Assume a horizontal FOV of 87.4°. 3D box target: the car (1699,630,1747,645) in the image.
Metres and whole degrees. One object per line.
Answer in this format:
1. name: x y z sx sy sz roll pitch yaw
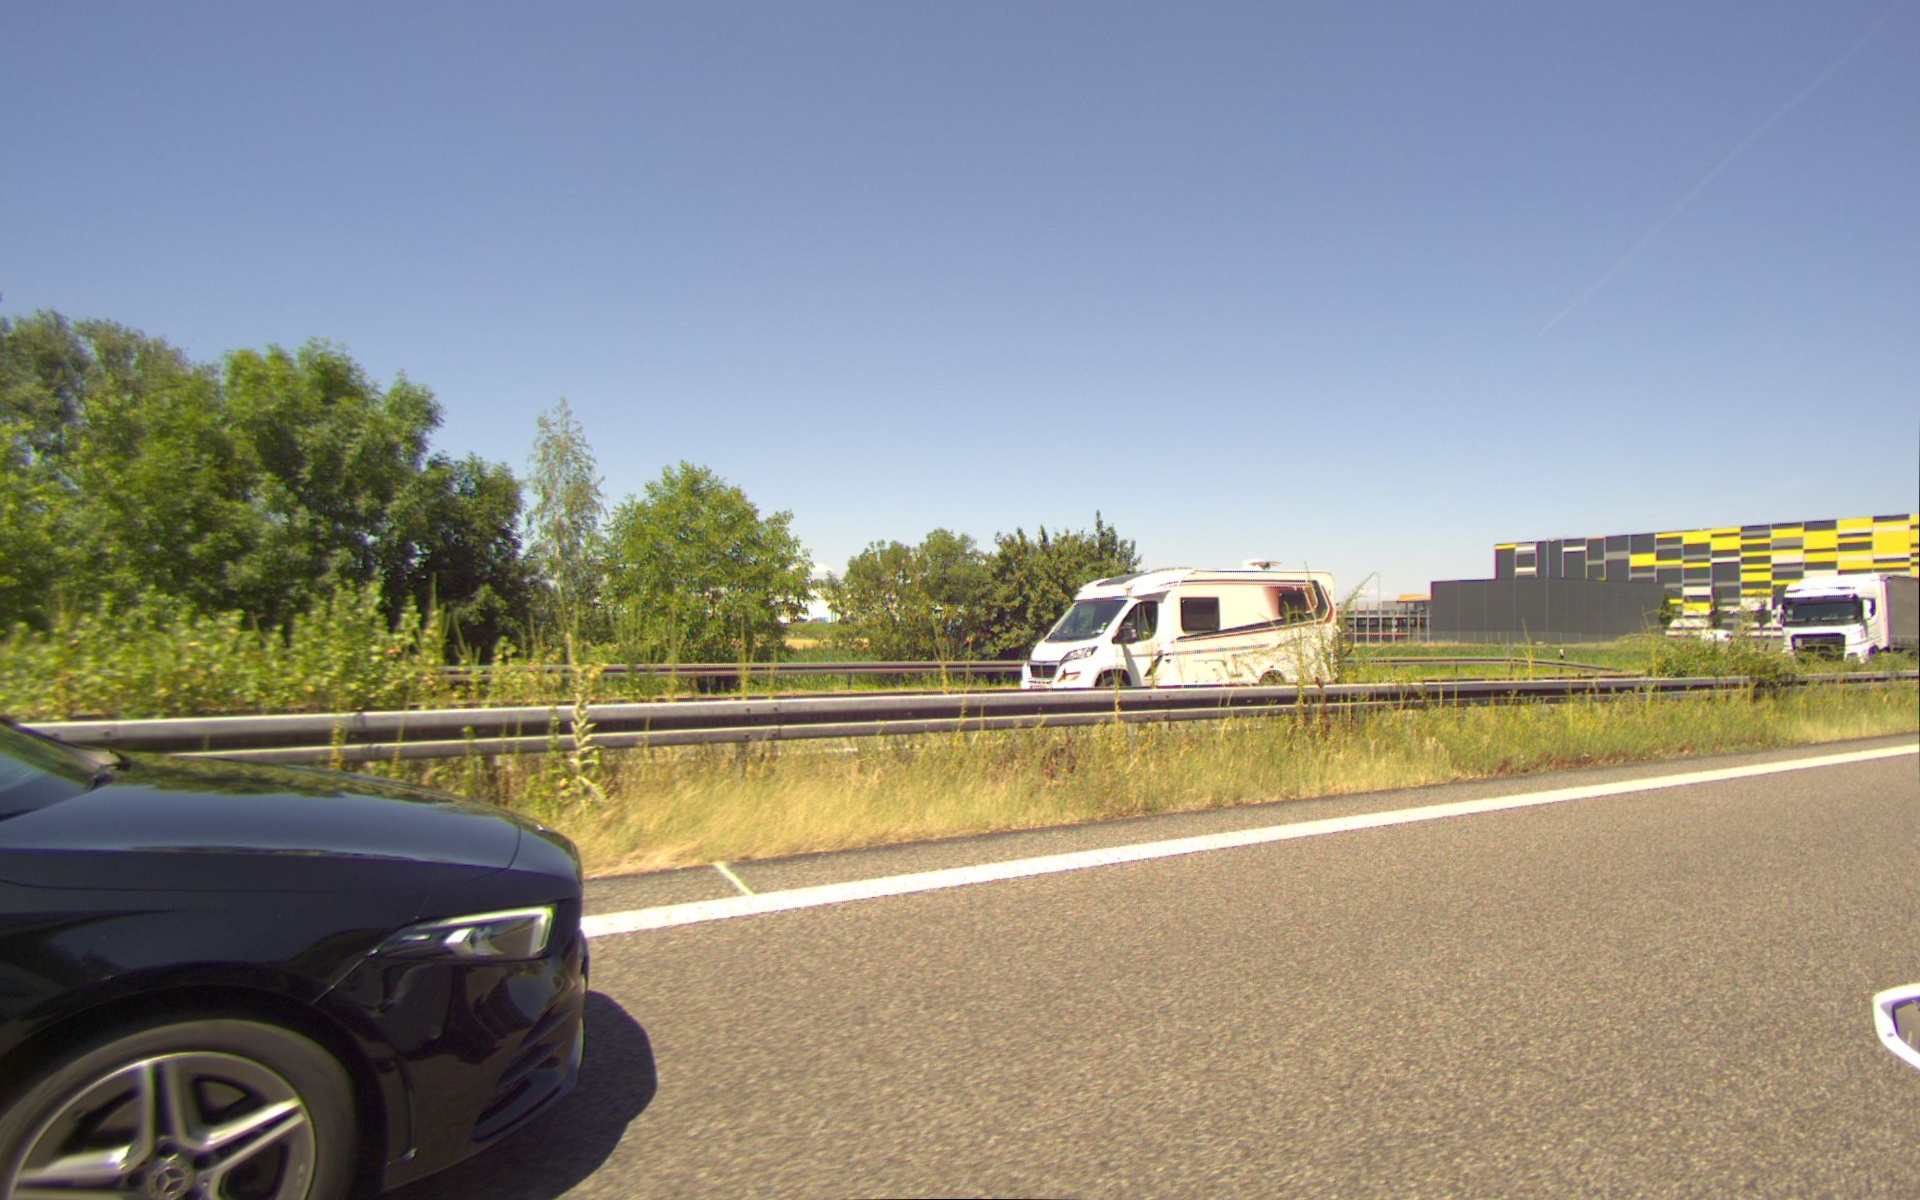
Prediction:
1. car: 118.110 5.785 155.566 5.506 2.206 2.106 -1 -2 28

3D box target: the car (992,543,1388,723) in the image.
1. car: 4.722 0.645 19.905 7.985 3.021 2.536 1 -1 -29

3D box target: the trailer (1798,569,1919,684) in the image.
1. trailer: 41.383 1.276 43.806 13.172 4.480 3.180 2 -3 -31

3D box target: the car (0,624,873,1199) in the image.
1. car: -2.401 0.782 2.429 4.007 1.430 1.783 2 -1 -32

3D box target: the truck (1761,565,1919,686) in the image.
1. truck: 35.653 1.076 40.385 6.900 4.484 3.146 2 -2 -31
